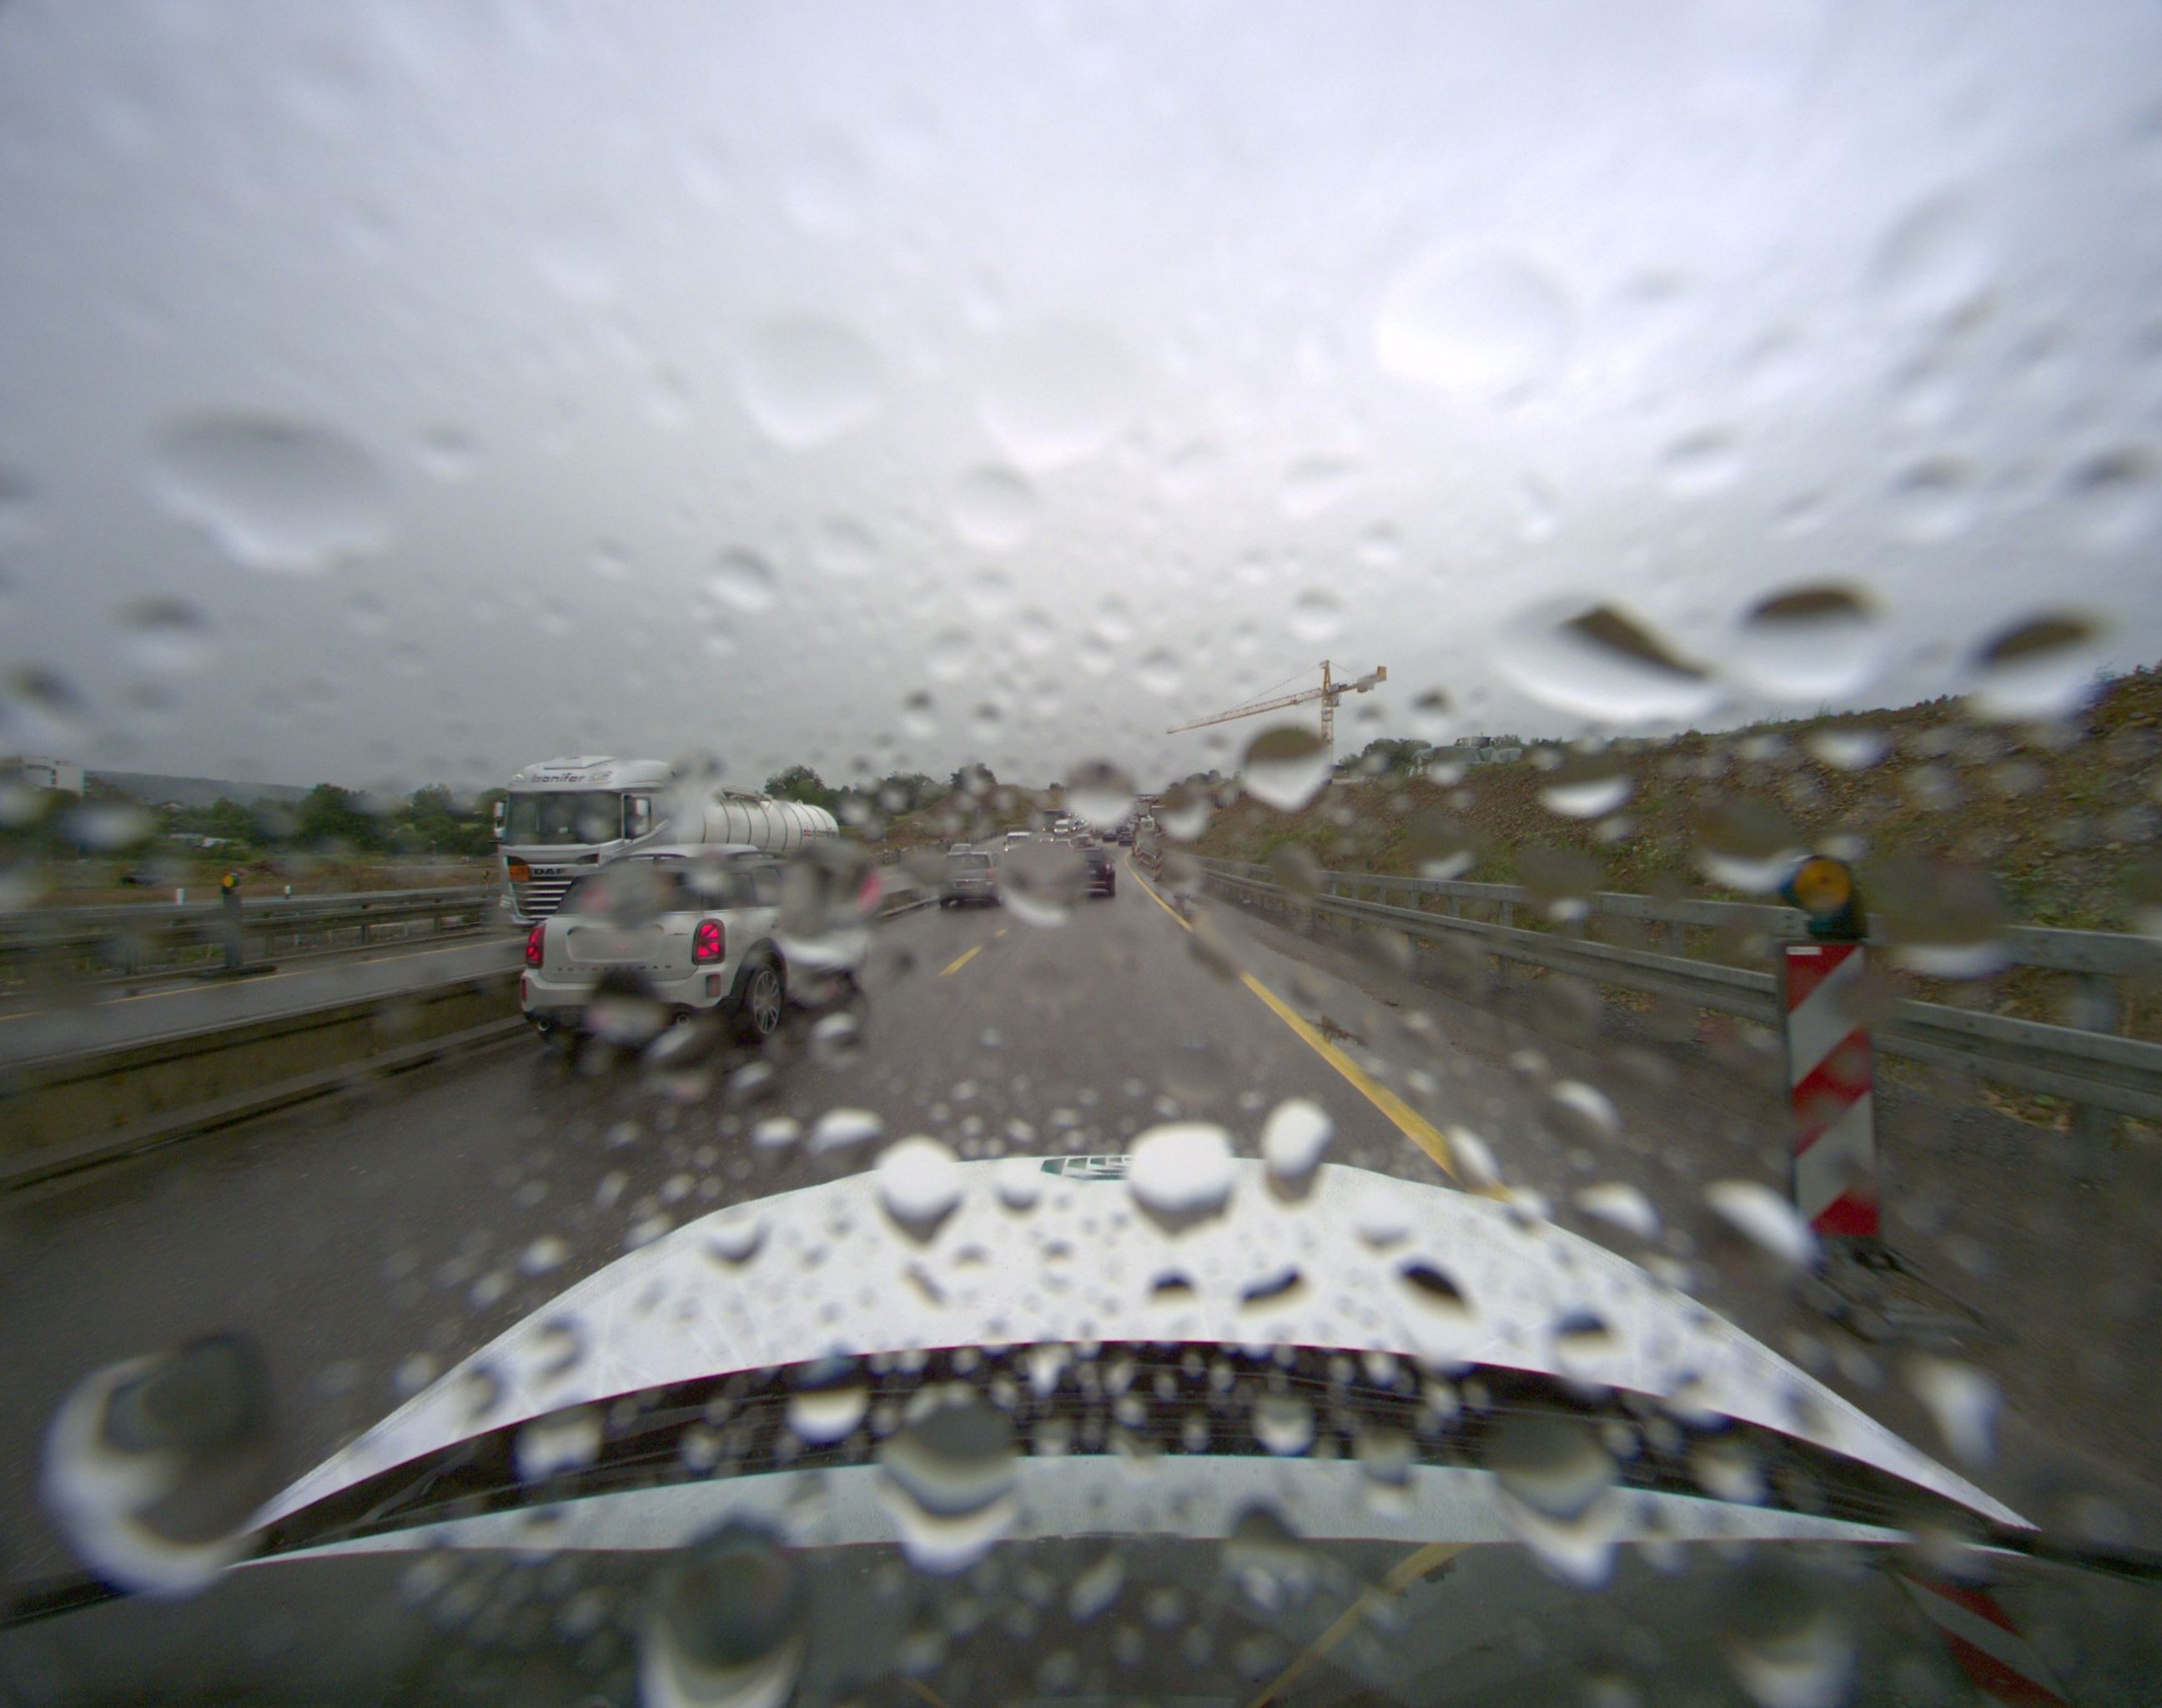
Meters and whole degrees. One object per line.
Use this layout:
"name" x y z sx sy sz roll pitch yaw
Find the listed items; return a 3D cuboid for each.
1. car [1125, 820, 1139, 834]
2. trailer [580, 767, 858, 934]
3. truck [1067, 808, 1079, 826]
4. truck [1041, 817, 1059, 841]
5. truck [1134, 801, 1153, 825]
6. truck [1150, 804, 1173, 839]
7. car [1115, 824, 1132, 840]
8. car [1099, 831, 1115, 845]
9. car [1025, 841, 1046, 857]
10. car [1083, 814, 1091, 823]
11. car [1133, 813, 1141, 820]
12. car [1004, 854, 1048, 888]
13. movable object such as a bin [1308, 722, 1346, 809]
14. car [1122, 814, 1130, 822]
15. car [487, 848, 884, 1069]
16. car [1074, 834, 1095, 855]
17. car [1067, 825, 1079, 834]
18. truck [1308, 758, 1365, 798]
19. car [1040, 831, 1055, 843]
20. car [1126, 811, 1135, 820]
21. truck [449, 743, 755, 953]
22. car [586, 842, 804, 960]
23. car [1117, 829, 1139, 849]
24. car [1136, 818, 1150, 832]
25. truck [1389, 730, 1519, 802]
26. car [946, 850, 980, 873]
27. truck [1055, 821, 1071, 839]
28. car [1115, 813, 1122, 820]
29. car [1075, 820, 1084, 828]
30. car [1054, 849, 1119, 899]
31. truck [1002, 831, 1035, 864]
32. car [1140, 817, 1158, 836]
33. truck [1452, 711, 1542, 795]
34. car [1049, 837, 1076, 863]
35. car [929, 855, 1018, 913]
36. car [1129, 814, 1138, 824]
"car" 8.293 -4.334 131.630 1.983 2.163 4.148 -1 0 6
"trailer" -9.716 -0.078 24.158 2.611 3.677 12.005 -1 0 1
"truck" -2.247 -10.543 234.016 3.070 4.918 8.571 -1 2 3
"truck" -5.189 -4.260 138.027 2.632 3.969 9.215 -1 2 1
"truck" 15.173 -9.983 198.231 3.790 5.042 12.923 -1 0 1
"truck" 13.580 -5.379 136.991 3.083 5.426 9.467 -1 0 9
"car" 6.275 -3.257 120.178 1.981 2.163 4.153 -1 0 11
"car" 3.443 -2.136 107.913 1.985 1.761 3.817 -1 0 2
"car" -4.604 -0.559 82.830 1.780 1.538 4.313 -2 1 1
"car" 1.364 -8.409 193.972 1.779 1.810 4.501 -1 0 2
"car" 16.129 -10.732 233.290 1.987 2.013 4.000 -1 0 1
"car" -2.812 0.851 42.527 1.987 1.600 4.140 -1 0 0
"movable object such as a bin" 34.370 -12.124 114.098 4.682 10.842 10.347 -1 0 16
"car" 11.782 -9.404 213.435 1.986 2.013 4.002 -2 1 1
"car" -3.451 0.760 8.187 1.810 1.600 4.308 -1 0 1
"car" 0.416 -1.040 88.845 1.985 2.163 4.145 -1 0 4
"car" -1.406 -4.184 141.195 1.862 1.471 4.671 -1 2 1
"truck" 20.895 -6.138 67.015 2.636 2.554 6.986 -1 0 1
"car" -4.165 -2.134 101.711 1.671 1.523 4.346 -2 1 1
"car" 11.512 -9.016 189.904 1.986 2.013 4.002 -2 1 1
"truck" -9.846 -0.103 17.791 2.611 3.677 6.596 -1 0 1
"car" -6.720 0.731 14.751 1.859 1.800 4.164 -1 0 1
"car" 5.585 -1.738 96.161 1.980 2.163 4.154 -1 0 12
"car" 10.818 -5.043 142.041 1.981 2.163 4.153 -1 0 11
"truck" 19.978 -4.608 44.410 3.381 2.875 8.967 -1 0 3
"car" -8.572 0.526 59.246 1.781 1.546 4.001 -1 1 1
"truck" -2.674 -3.675 124.529 2.140 2.713 6.018 -1 1 1
"car" 11.494 -11.634 251.167 1.987 2.013 4.000 -1 0 1
"car" -0.208 -6.423 173.634 1.731 1.684 5.555 -1 2 2
"car" 0.272 0.662 28.589 2.073 1.600 4.143 -1 0 2
"truck" -5.036 -0.494 66.525 2.071 2.576 5.963 -1 0 1
"car" 9.824 -3.934 117.707 1.981 2.484 4.997 -1 0 11
"truck" 24.793 -5.895 48.816 2.365 4.218 5.980 -1 0 1
"car" -1.494 -0.306 67.107 1.986 2.013 3.894 -1 0 1
"car" -3.181 0.841 25.013 1.986 1.600 4.143 -1 0 2
"car" 11.277 -7.404 174.349 1.842 1.894 4.024 -1 0 2
